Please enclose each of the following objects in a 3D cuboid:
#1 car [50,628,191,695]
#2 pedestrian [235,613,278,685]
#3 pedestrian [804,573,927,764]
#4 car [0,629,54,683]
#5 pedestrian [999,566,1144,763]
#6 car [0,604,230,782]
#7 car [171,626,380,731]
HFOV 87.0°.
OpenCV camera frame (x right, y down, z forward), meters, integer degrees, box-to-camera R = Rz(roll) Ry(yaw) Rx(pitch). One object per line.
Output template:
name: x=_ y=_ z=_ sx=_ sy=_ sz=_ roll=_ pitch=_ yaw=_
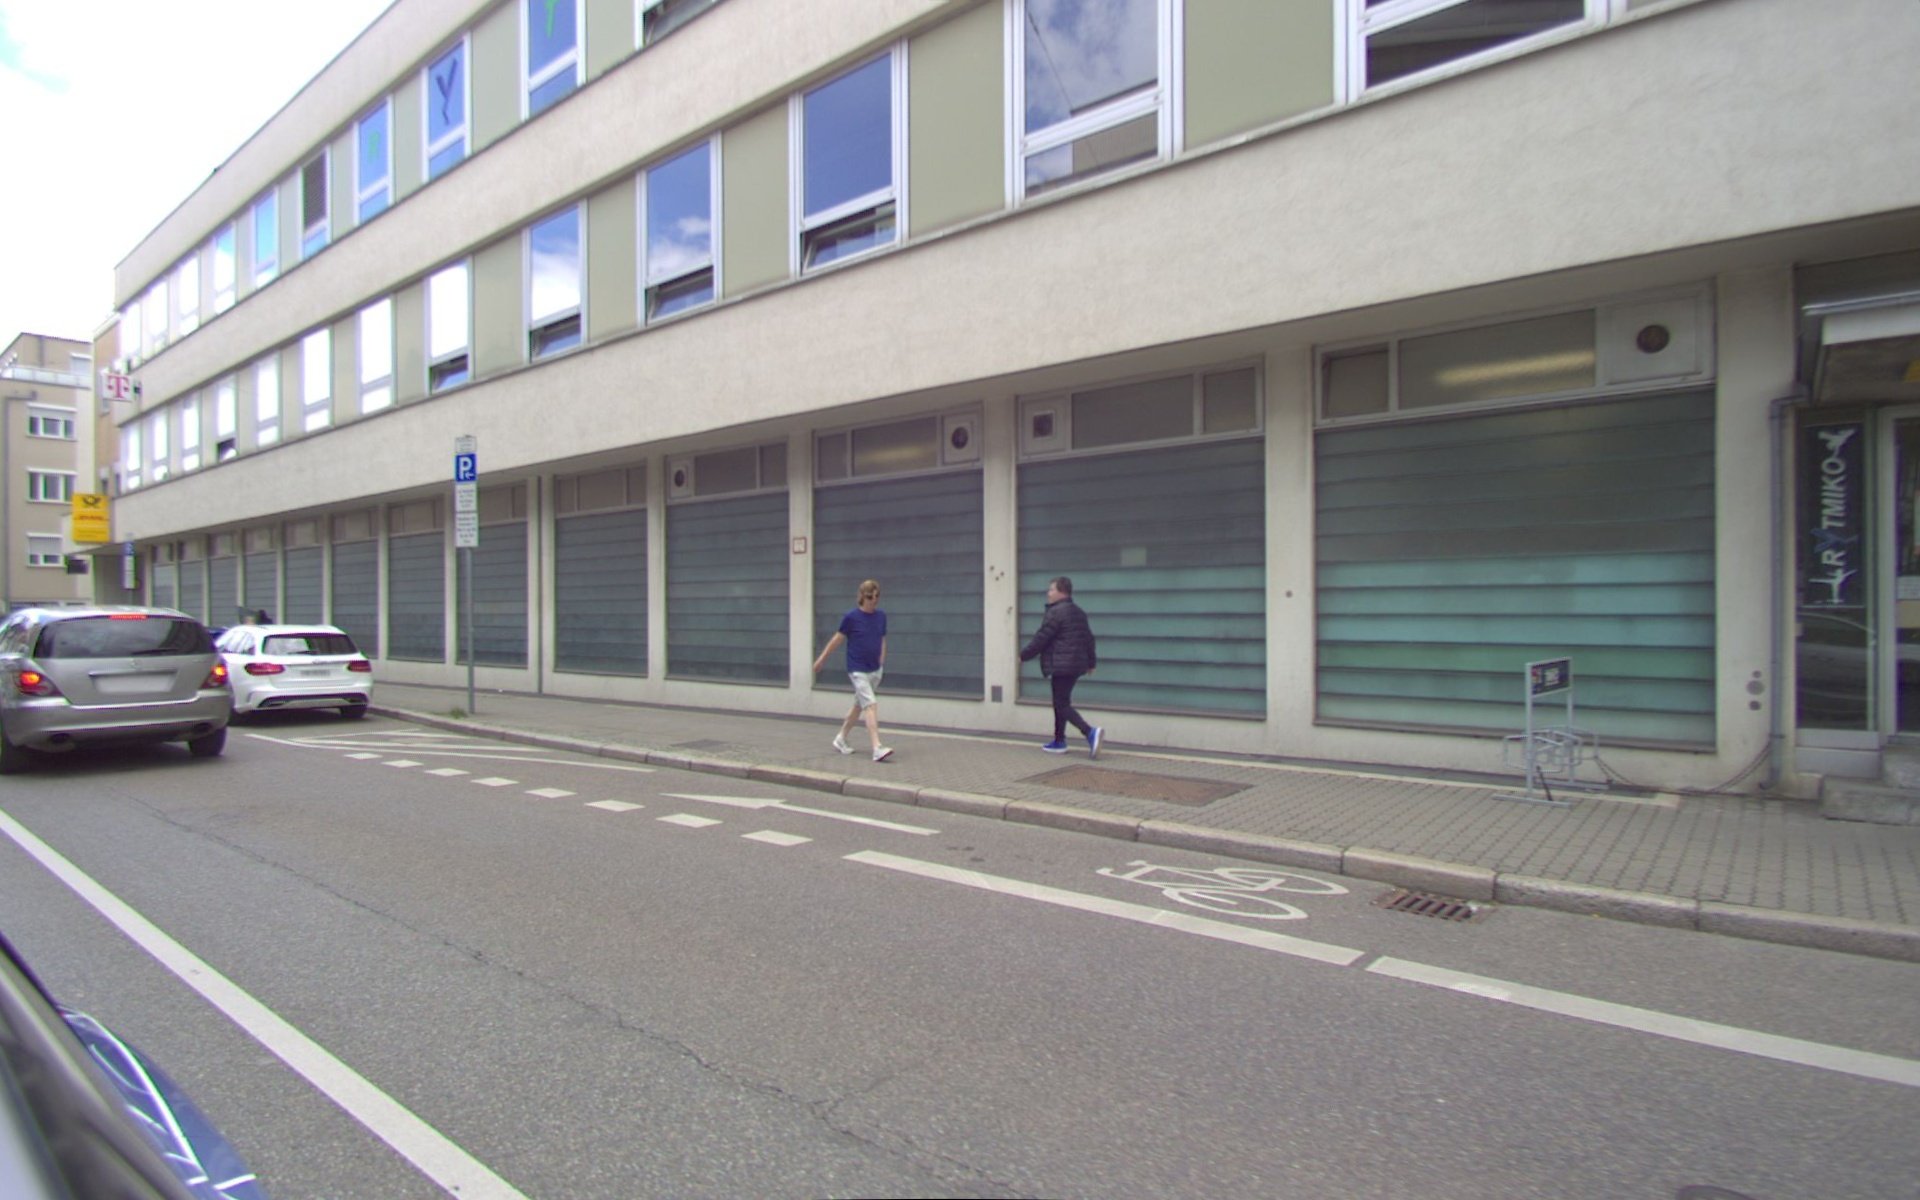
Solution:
car: x=-19.547 y=1.385 z=23.525 sx=3.865 sy=1.436 sz=1.700 roll=-1 pitch=-3 yaw=38
pedestrian: x=-17.260 y=1.189 z=24.850 sx=0.642 sy=1.731 sz=0.590 roll=-1 pitch=-1 yaw=8
pedestrian: x=-0.909 y=0.629 z=9.701 sx=1.054 sy=1.731 sz=0.584 roll=-2 pitch=-1 yaw=38
car: x=-27.073 y=1.516 z=27.787 sx=4.427 sy=1.409 sz=1.644 roll=-1 pitch=0 yaw=24
pedestrian: x=1.049 y=0.565 z=9.539 sx=1.030 sy=1.731 sz=0.853 roll=-2 pitch=0 yaw=38
car: x=-10.082 y=0.915 z=11.548 sx=4.764 sy=1.644 sz=1.758 roll=-2 pitch=-2 yaw=40
car: x=-10.908 y=1.148 z=15.997 sx=4.551 sy=1.445 sz=1.652 roll=-2 pitch=-3 yaw=42
